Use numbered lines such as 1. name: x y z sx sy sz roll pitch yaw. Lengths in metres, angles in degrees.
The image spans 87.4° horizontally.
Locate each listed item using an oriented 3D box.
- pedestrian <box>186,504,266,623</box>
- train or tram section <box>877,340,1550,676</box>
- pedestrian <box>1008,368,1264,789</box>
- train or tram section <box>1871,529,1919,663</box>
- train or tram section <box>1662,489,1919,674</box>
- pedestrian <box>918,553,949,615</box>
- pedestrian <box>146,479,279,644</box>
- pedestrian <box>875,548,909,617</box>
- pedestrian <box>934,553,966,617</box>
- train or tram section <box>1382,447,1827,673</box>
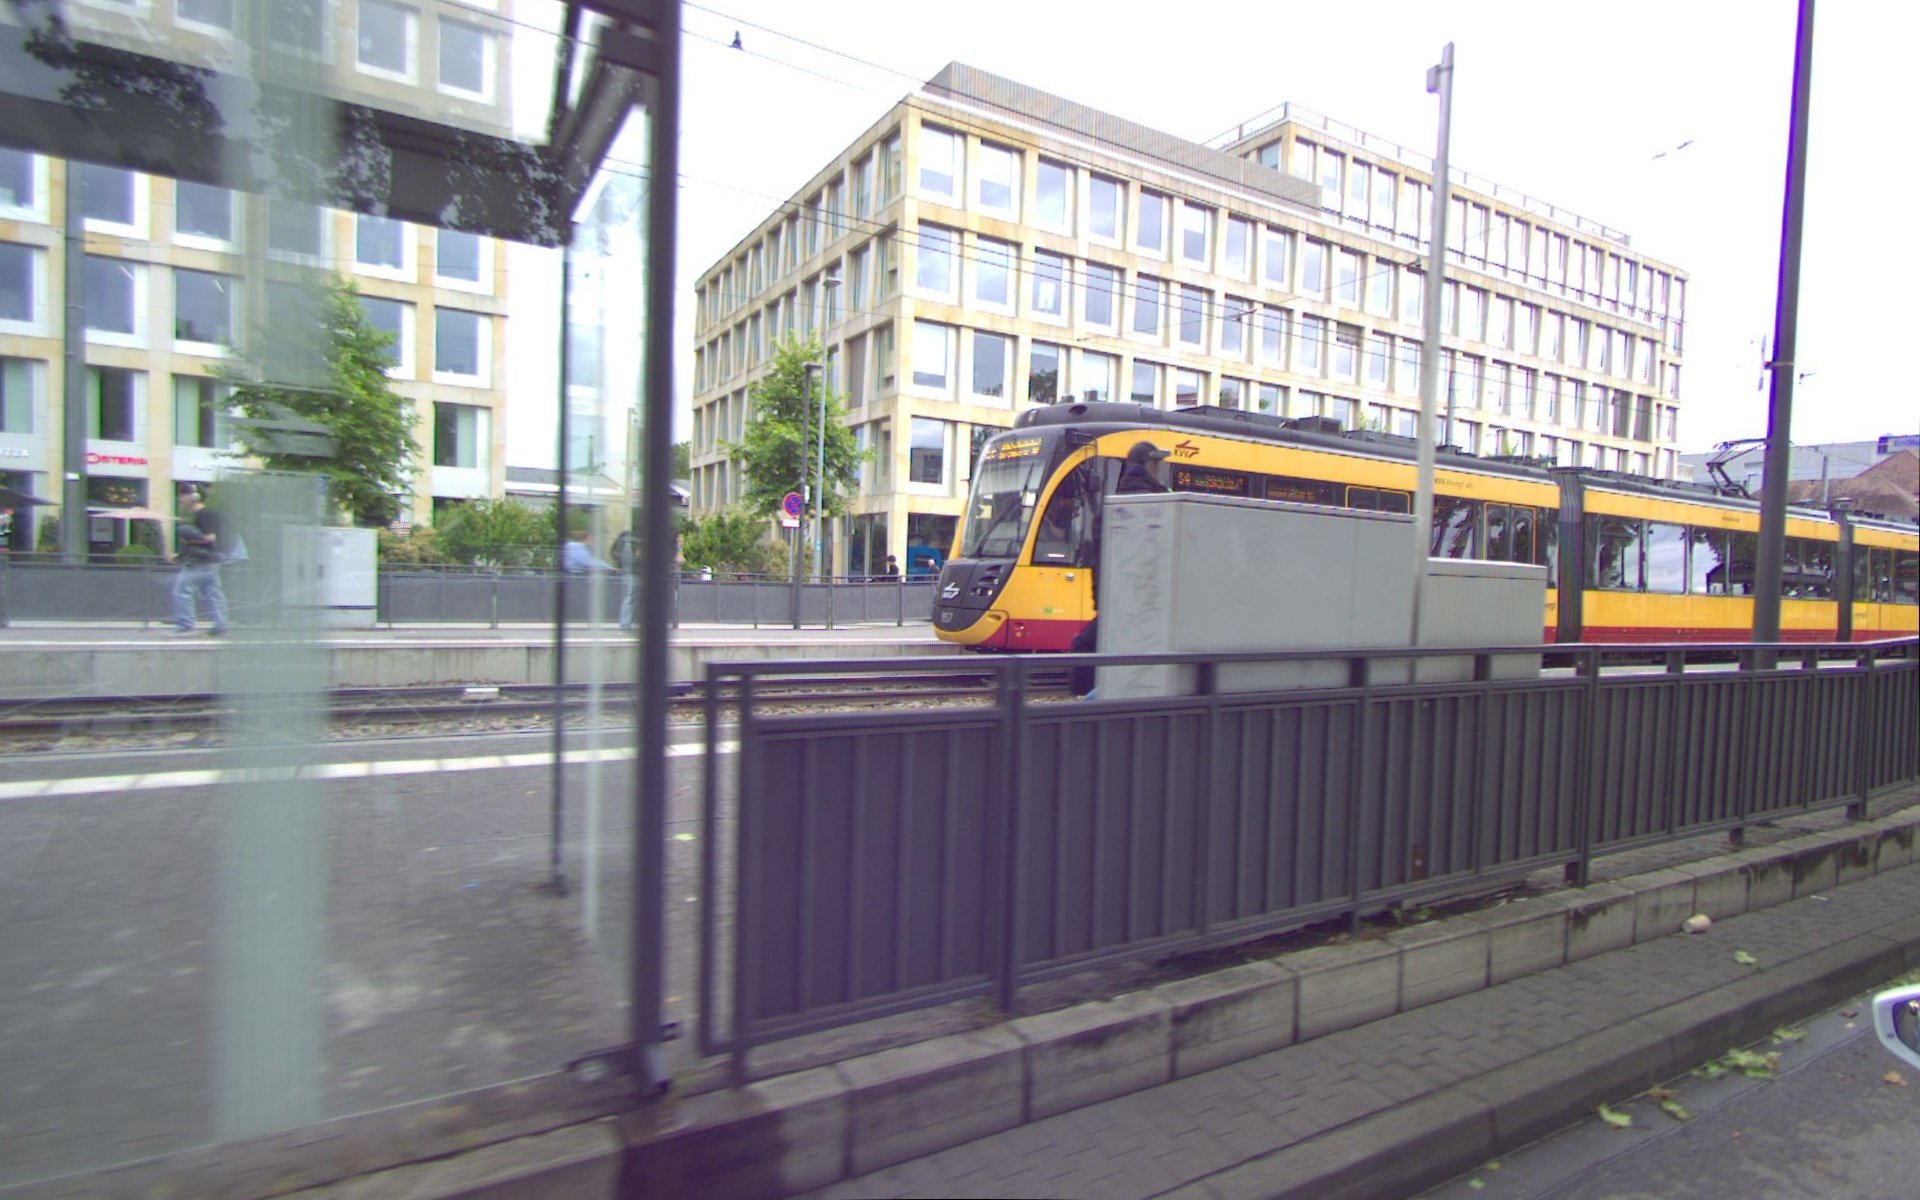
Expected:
1. pedestrian: -13.190 -0.639 18.083 1.021 2.040 0.928 2 1 -31
2. train or tram section: 4.481 -0.950 15.951 11.178 3.913 3.222 2 1 -30
3. pedestrian: 0.937 -0.104 5.533 0.830 2.040 1.053 2 1 -30
4. train or tram section: 36.808 0.117 34.945 14.561 4.235 3.165 2 1 -30
5. train or tram section: 24.718 -0.262 27.811 13.460 4.235 3.165 2 1 -30
6. pedestrian: -0.883 -0.545 33.936 0.717 2.040 0.709 2 1 -31
7. pedestrian: -8.732 -0.428 11.788 1.147 1.819 0.707 2 1 -31
8. pedestrian: -2.057 -0.542 30.450 0.717 2.040 0.709 2 1 -31
9. pedestrian: -0.325 -0.503 32.998 0.717 2.040 0.709 2 1 -31
10. train or tram section: 14.142 -0.562 21.554 11.178 3.913 3.148 2 1 -30
